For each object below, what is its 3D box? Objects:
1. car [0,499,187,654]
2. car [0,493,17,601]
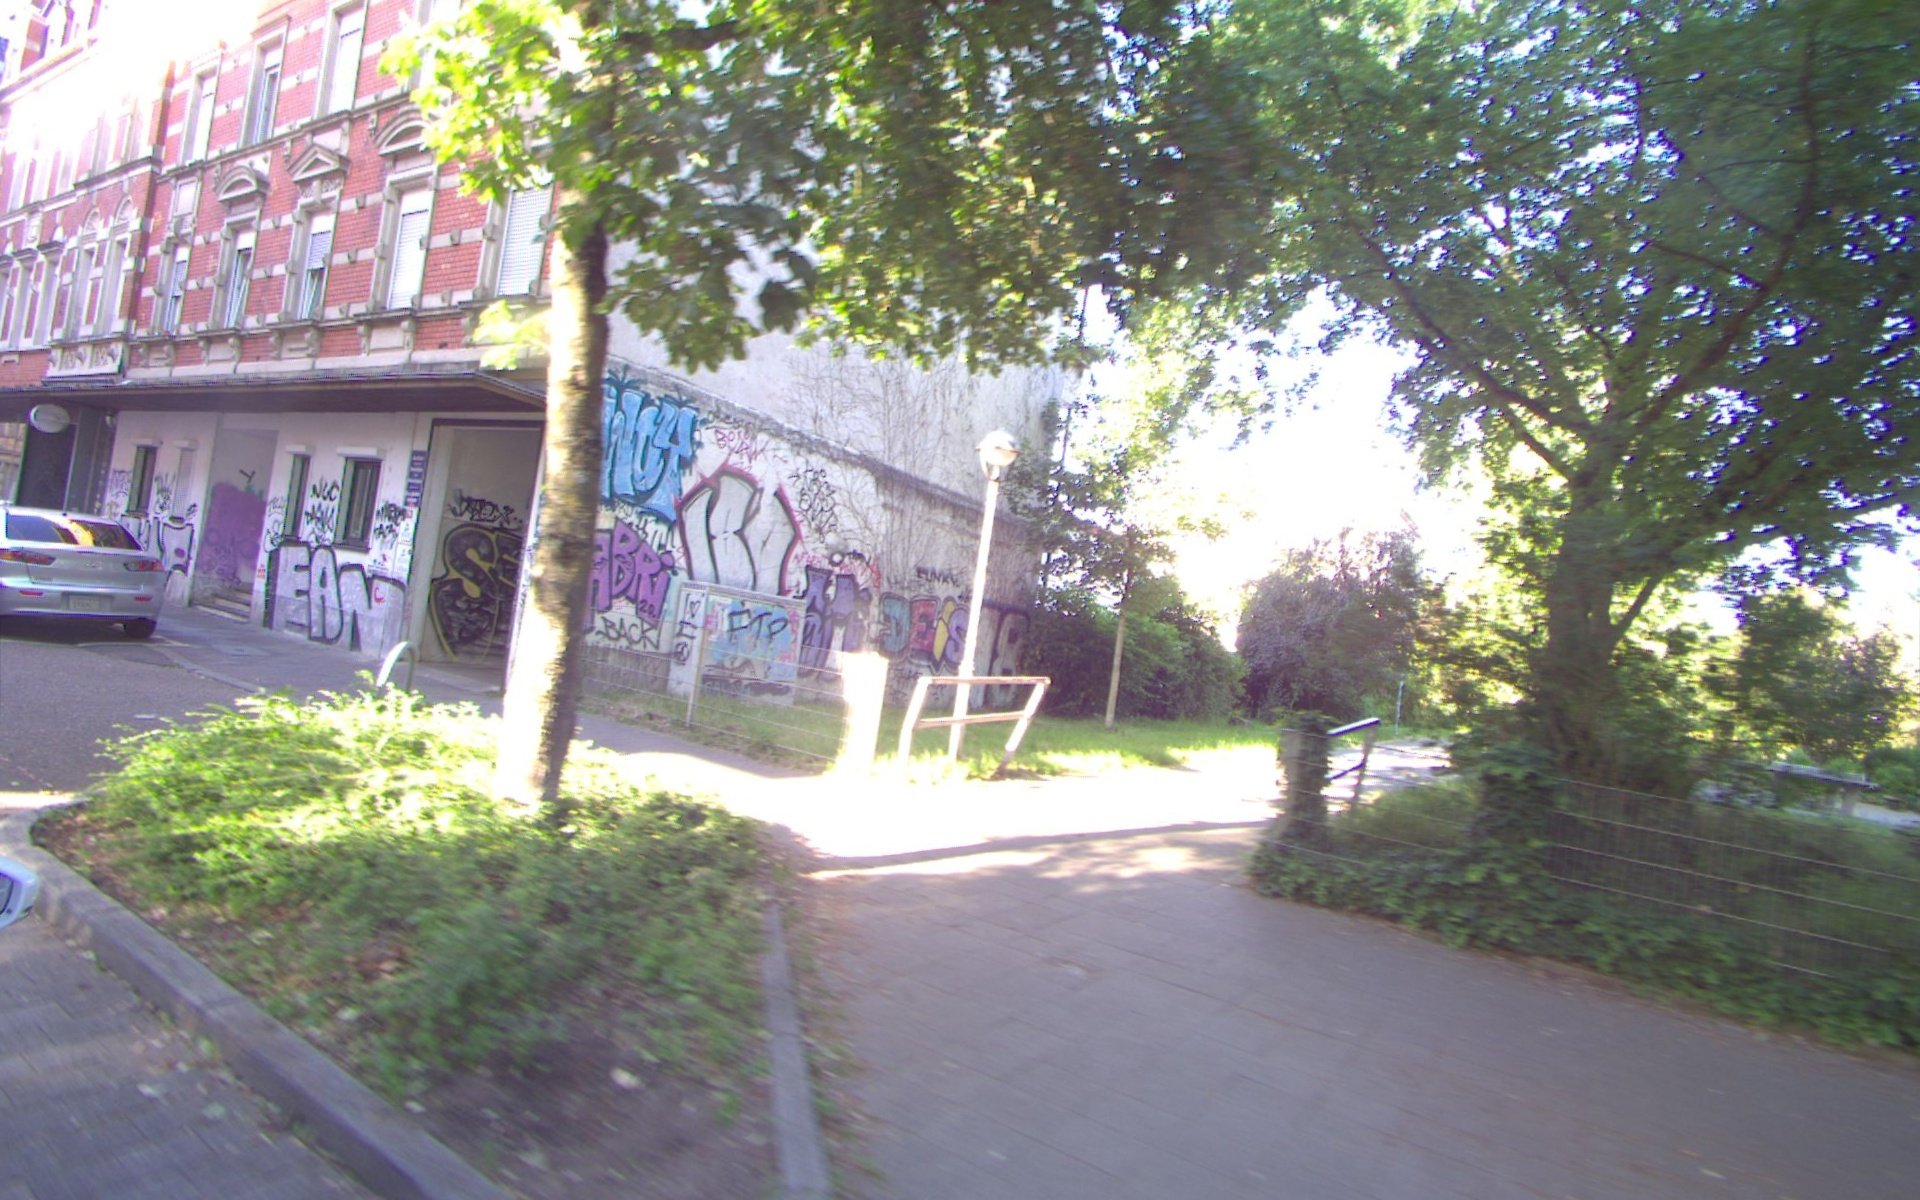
[{"bbox_3d":[-11.926,-0.432,12.912,4.327,1.580,1.724,7,-2,34],"label":"car"},{"bbox_3d":[-16.942,-1.094,16.209,3.808,1.675,1.642,7,-2,34],"label":"car"}]
